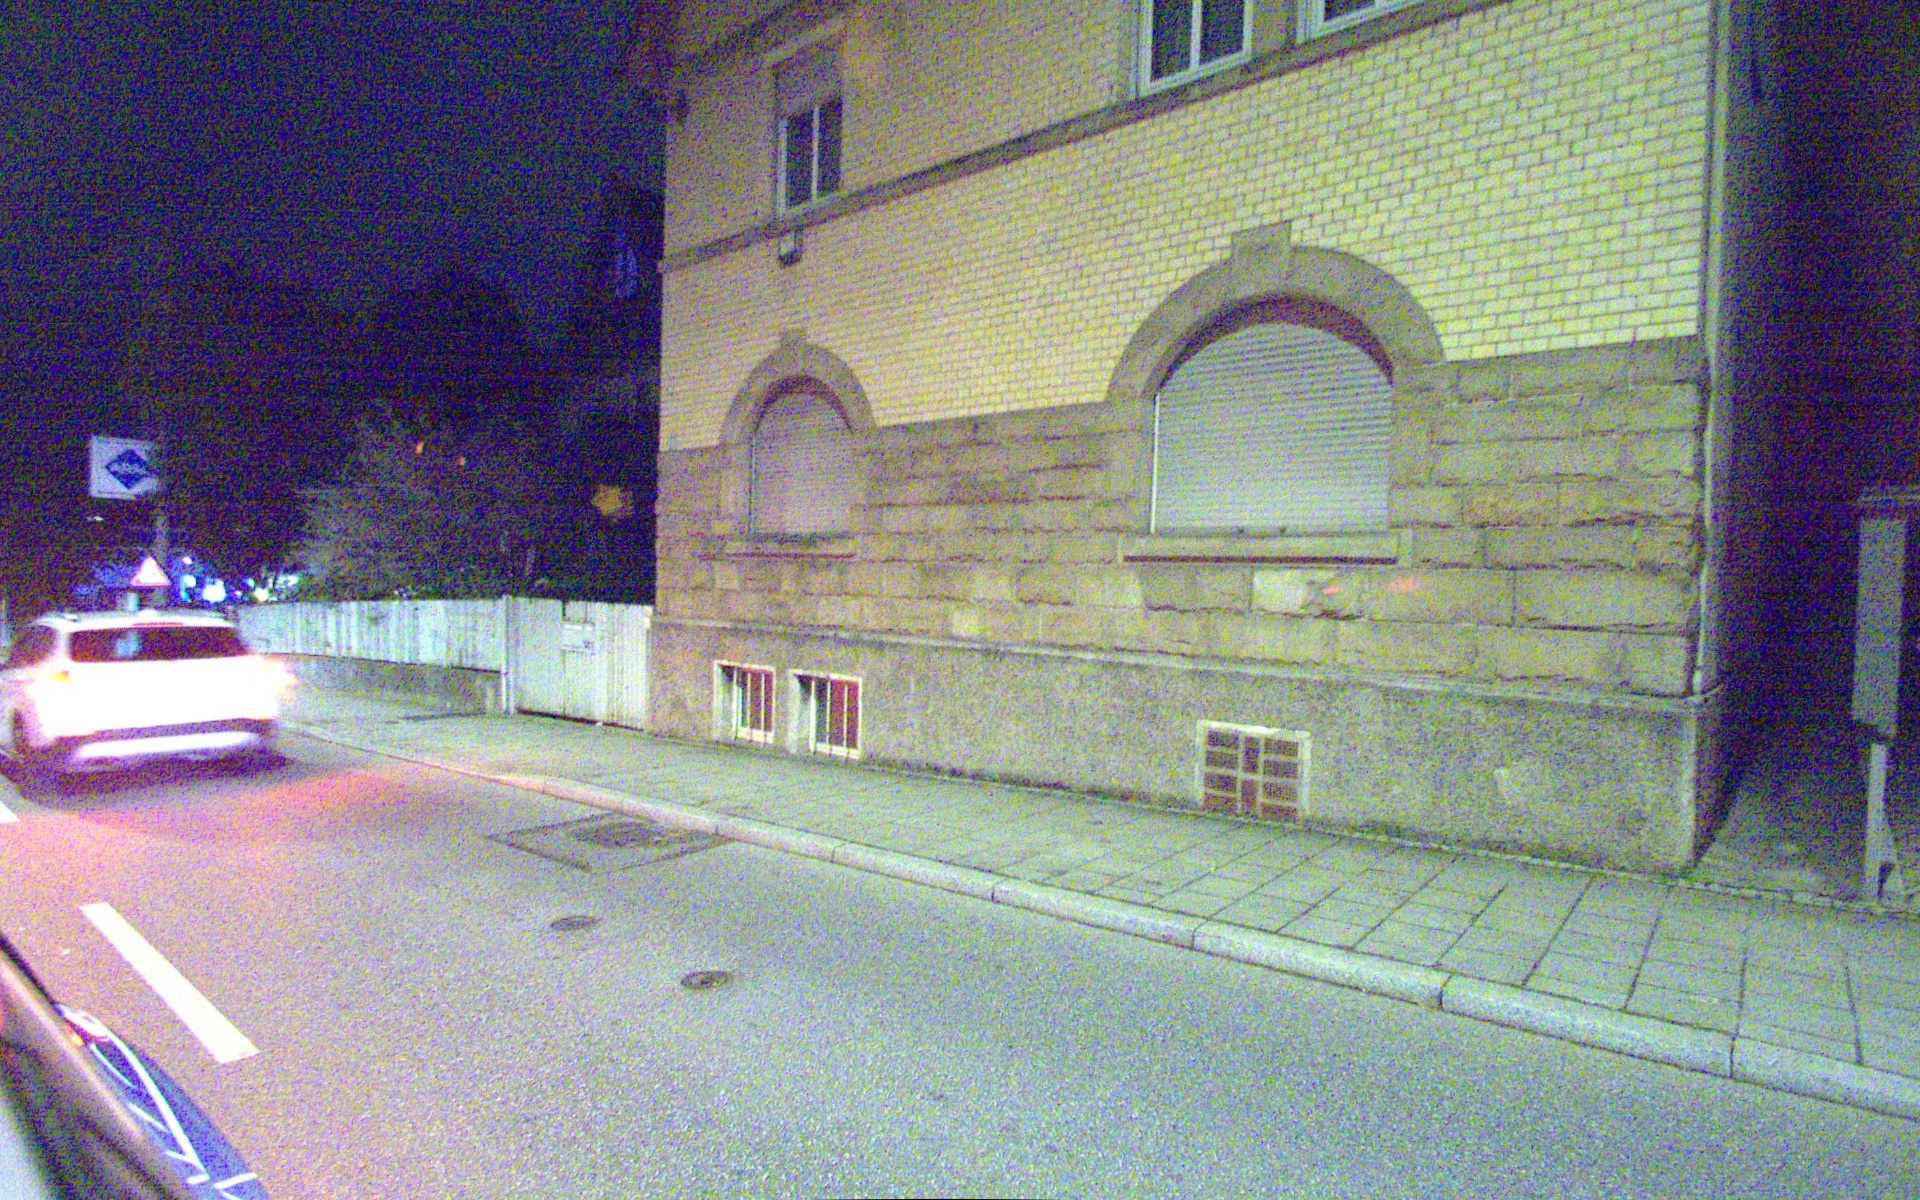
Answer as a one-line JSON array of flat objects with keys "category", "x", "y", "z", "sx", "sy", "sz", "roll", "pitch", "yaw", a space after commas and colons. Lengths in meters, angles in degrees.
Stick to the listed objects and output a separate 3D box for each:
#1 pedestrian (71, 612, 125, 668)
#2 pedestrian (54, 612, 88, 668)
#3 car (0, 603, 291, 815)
[{"category": "pedestrian", "x": -26.838, "y": 1.234, "z": 31.529, "sx": 0.734, "sy": 1.684, "sz": 1.103, "roll": 0, "pitch": 0, "yaw": 0}, {"category": "pedestrian", "x": -27.965, "y": 1.243, "z": 31.823, "sx": 0.865, "sy": 1.739, "sz": 0.662, "roll": -1, "pitch": -1, "yaw": 38}, {"category": "car", "x": -8.011, "y": 0.836, "z": 9.503, "sx": 4.025, "sy": 1.546, "sz": 1.838, "roll": -1, "pitch": 0, "yaw": 40}]
